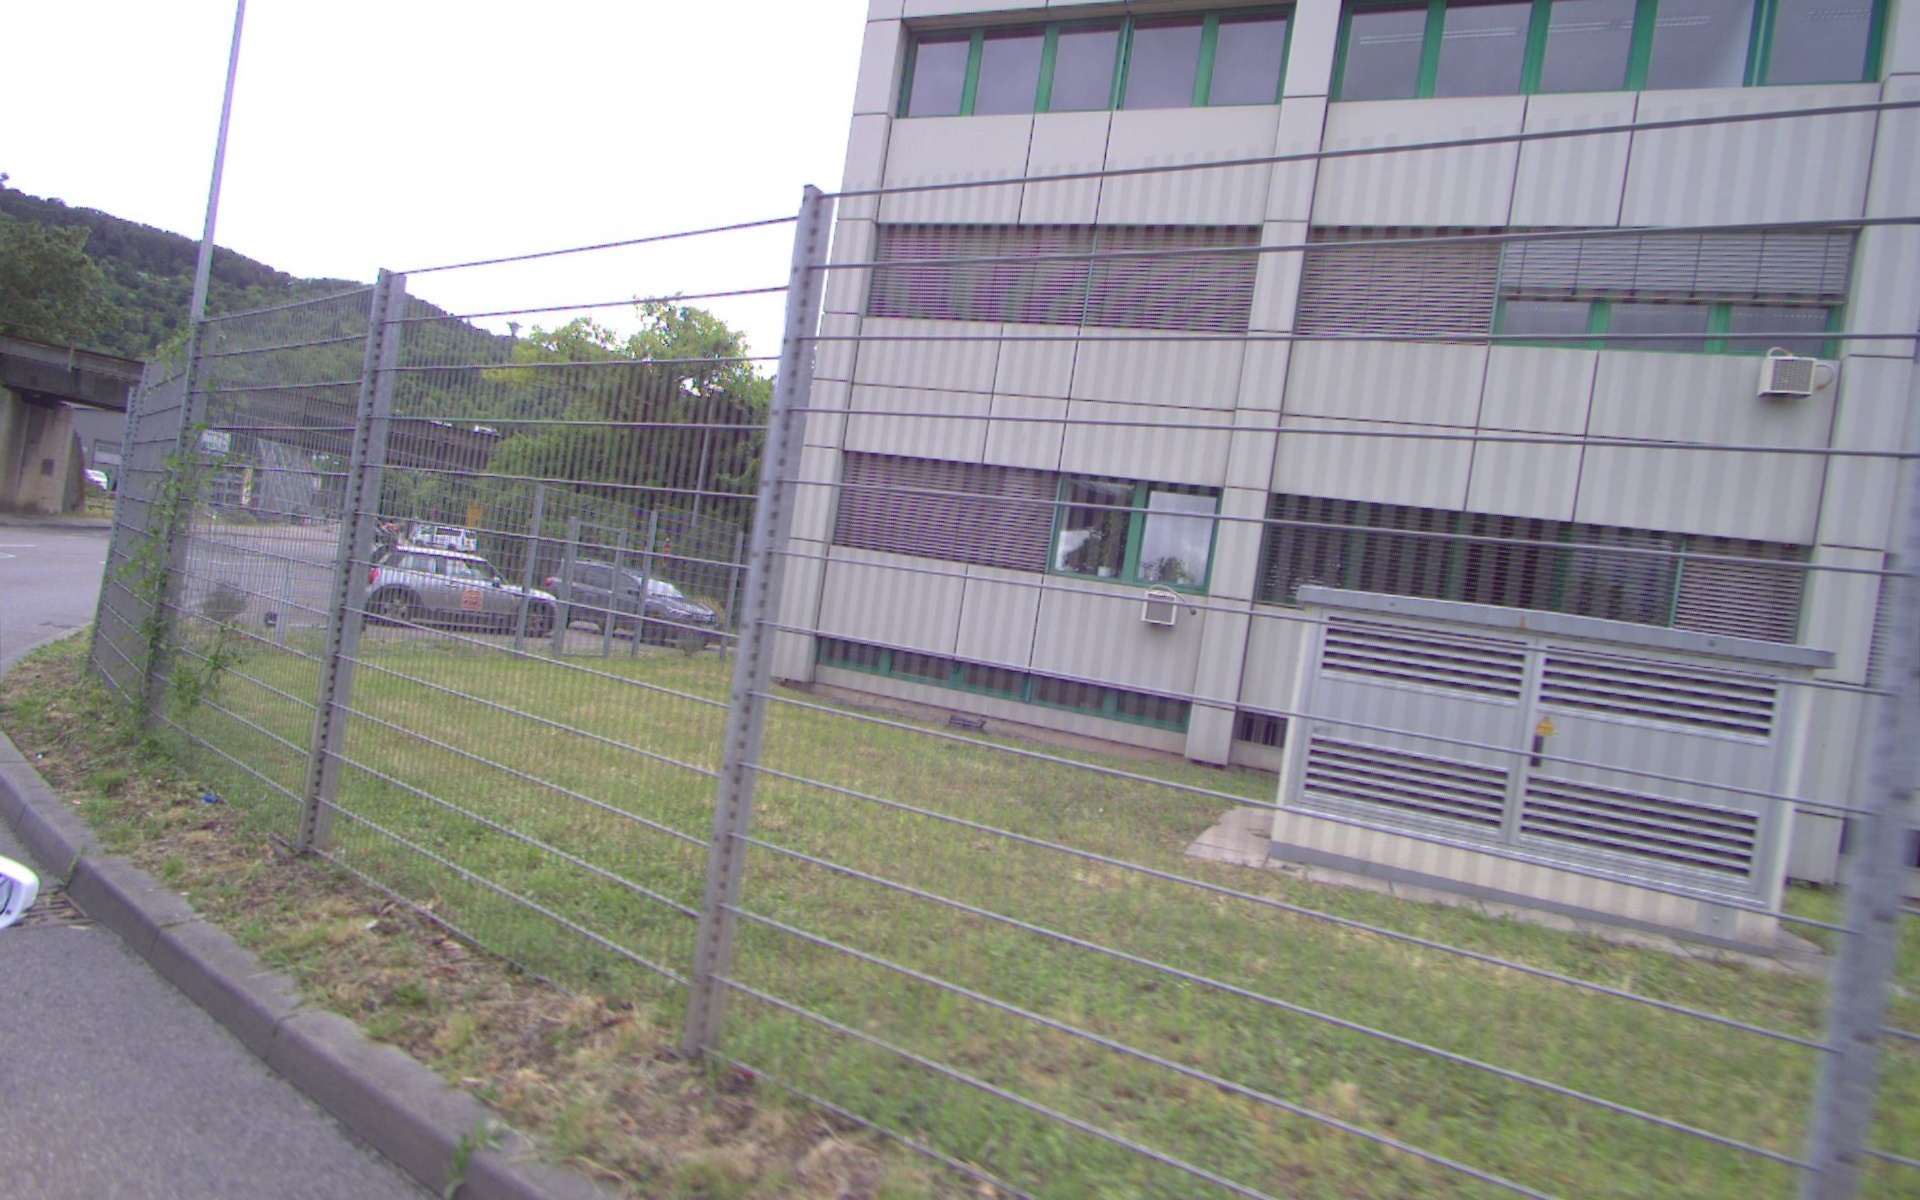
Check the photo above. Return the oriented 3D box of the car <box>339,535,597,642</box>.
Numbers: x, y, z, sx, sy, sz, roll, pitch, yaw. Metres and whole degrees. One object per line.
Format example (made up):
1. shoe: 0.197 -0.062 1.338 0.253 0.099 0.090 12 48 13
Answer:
1. car: -9.338 -0.179 19.302 1.763 1.449 3.999 8 -1 45

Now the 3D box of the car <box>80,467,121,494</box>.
1. car: -63.208 -8.782 73.957 1.989 1.553 3.950 10 -1 -43

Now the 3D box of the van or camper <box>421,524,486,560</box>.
1. van or camper: -41.048 -4.707 81.609 4.126 2.107 2.108 8 -1 15

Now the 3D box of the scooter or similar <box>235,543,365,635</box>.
1. scooter or similar: -9.573 -0.149 14.630 1.399 1.147 0.478 7 0 -20

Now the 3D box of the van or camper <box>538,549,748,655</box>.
1. van or camper: -7.341 0.028 23.245 4.427 1.713 1.833 8 -2 27
